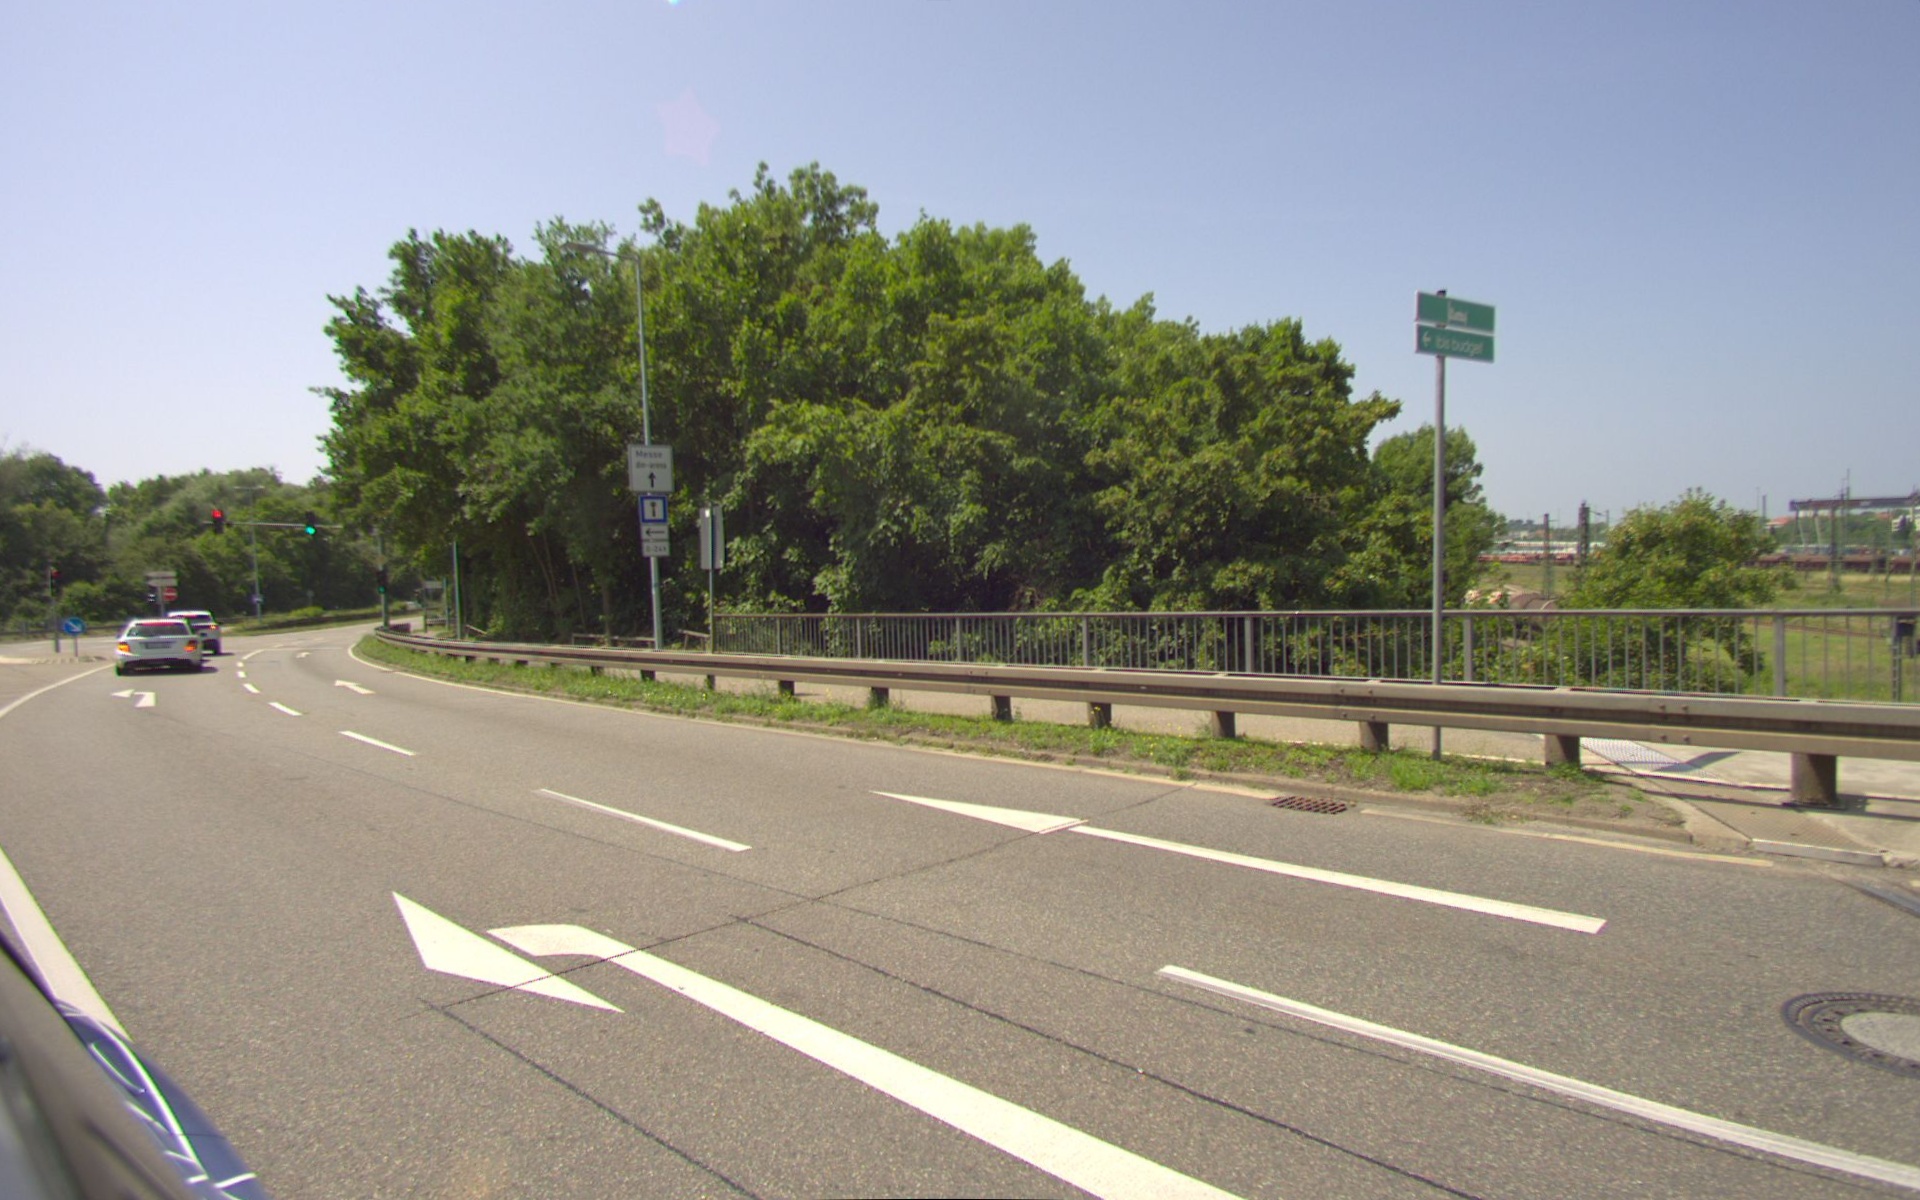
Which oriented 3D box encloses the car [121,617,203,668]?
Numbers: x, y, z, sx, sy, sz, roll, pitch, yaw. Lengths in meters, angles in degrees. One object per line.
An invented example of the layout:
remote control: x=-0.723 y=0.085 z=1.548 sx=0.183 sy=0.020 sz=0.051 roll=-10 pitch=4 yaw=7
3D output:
car: x=-25.130 y=1.288 z=31.993 sx=1.803 sy=1.417 sz=4.557 roll=-1 pitch=0 yaw=-36

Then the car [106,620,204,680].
car: x=-21.458 y=1.269 z=27.129 sx=1.803 sy=1.417 sz=4.899 roll=0 pitch=-1 yaw=-36

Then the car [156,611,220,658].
car: x=-29.007 y=1.257 z=38.073 sx=1.804 sy=1.651 sz=4.588 roll=-1 pitch=0 yaw=-37
